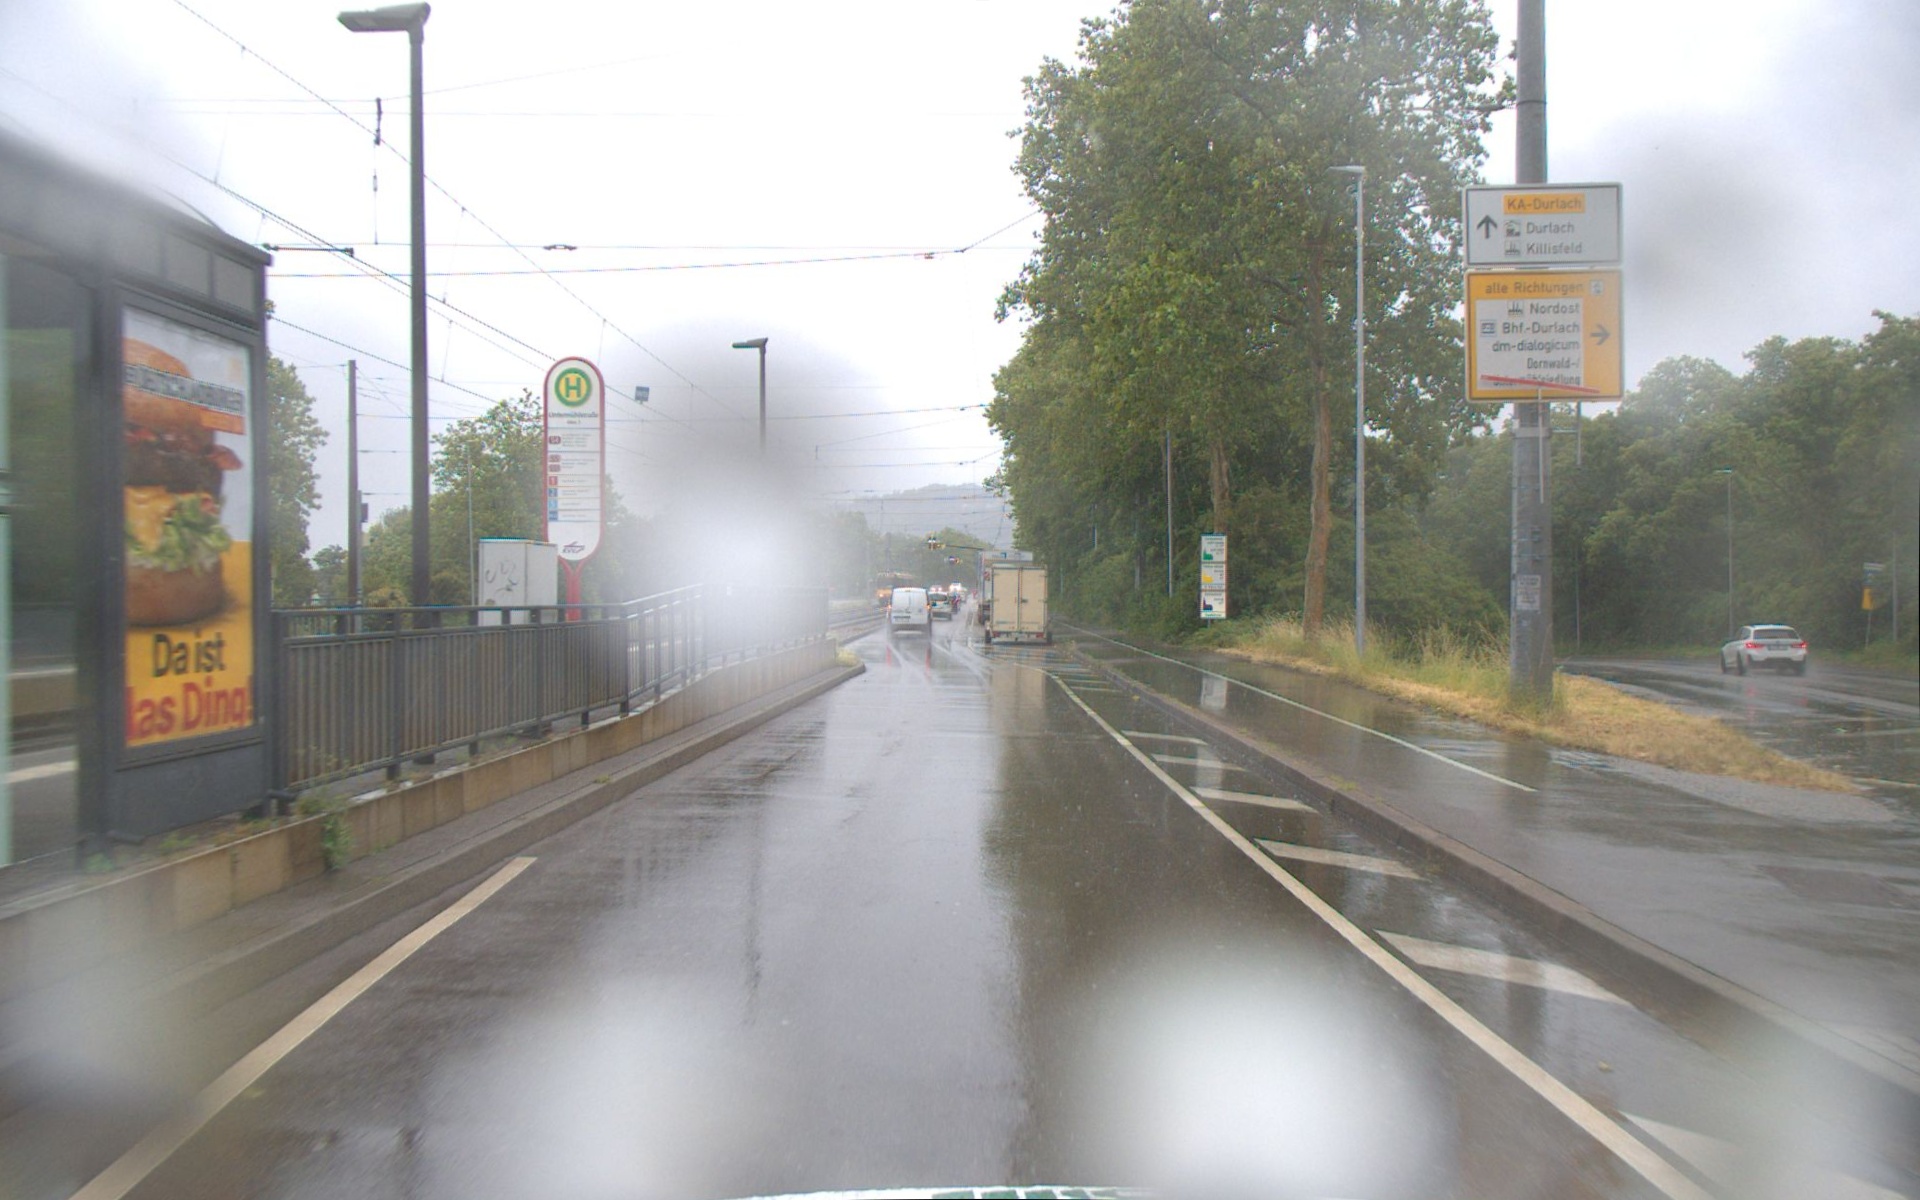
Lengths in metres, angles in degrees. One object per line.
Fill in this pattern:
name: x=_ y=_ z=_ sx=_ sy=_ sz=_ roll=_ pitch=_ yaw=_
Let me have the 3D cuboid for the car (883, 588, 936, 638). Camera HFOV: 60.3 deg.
car: x=-2.000 y=0.499 z=64.389 sx=1.954 sy=1.881 sz=3.998 roll=0 pitch=0 yaw=-3

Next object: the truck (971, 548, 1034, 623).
truck: x=2.185 y=-0.714 z=88.744 sx=2.720 sy=3.769 sz=9.847 roll=1 pitch=0 yaw=-3

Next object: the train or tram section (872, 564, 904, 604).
train or tram section: x=-7.951 y=-1.760 z=183.566 sx=2.749 sy=4.222 sz=13.020 roll=0 pitch=0 yaw=1

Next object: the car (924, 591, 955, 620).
car: x=-1.183 y=0.329 z=97.778 sx=1.749 sy=1.671 sz=3.968 roll=0 pitch=0 yaw=0

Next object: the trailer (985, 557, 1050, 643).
trailer: x=2.056 y=0.014 z=57.440 sx=2.120 sy=2.806 sz=5.678 roll=1 pitch=-1 yaw=3

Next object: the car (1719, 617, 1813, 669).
car: x=24.210 y=1.263 z=49.806 sx=1.848 sy=1.456 sz=4.003 roll=0 pitch=0 yaw=16
